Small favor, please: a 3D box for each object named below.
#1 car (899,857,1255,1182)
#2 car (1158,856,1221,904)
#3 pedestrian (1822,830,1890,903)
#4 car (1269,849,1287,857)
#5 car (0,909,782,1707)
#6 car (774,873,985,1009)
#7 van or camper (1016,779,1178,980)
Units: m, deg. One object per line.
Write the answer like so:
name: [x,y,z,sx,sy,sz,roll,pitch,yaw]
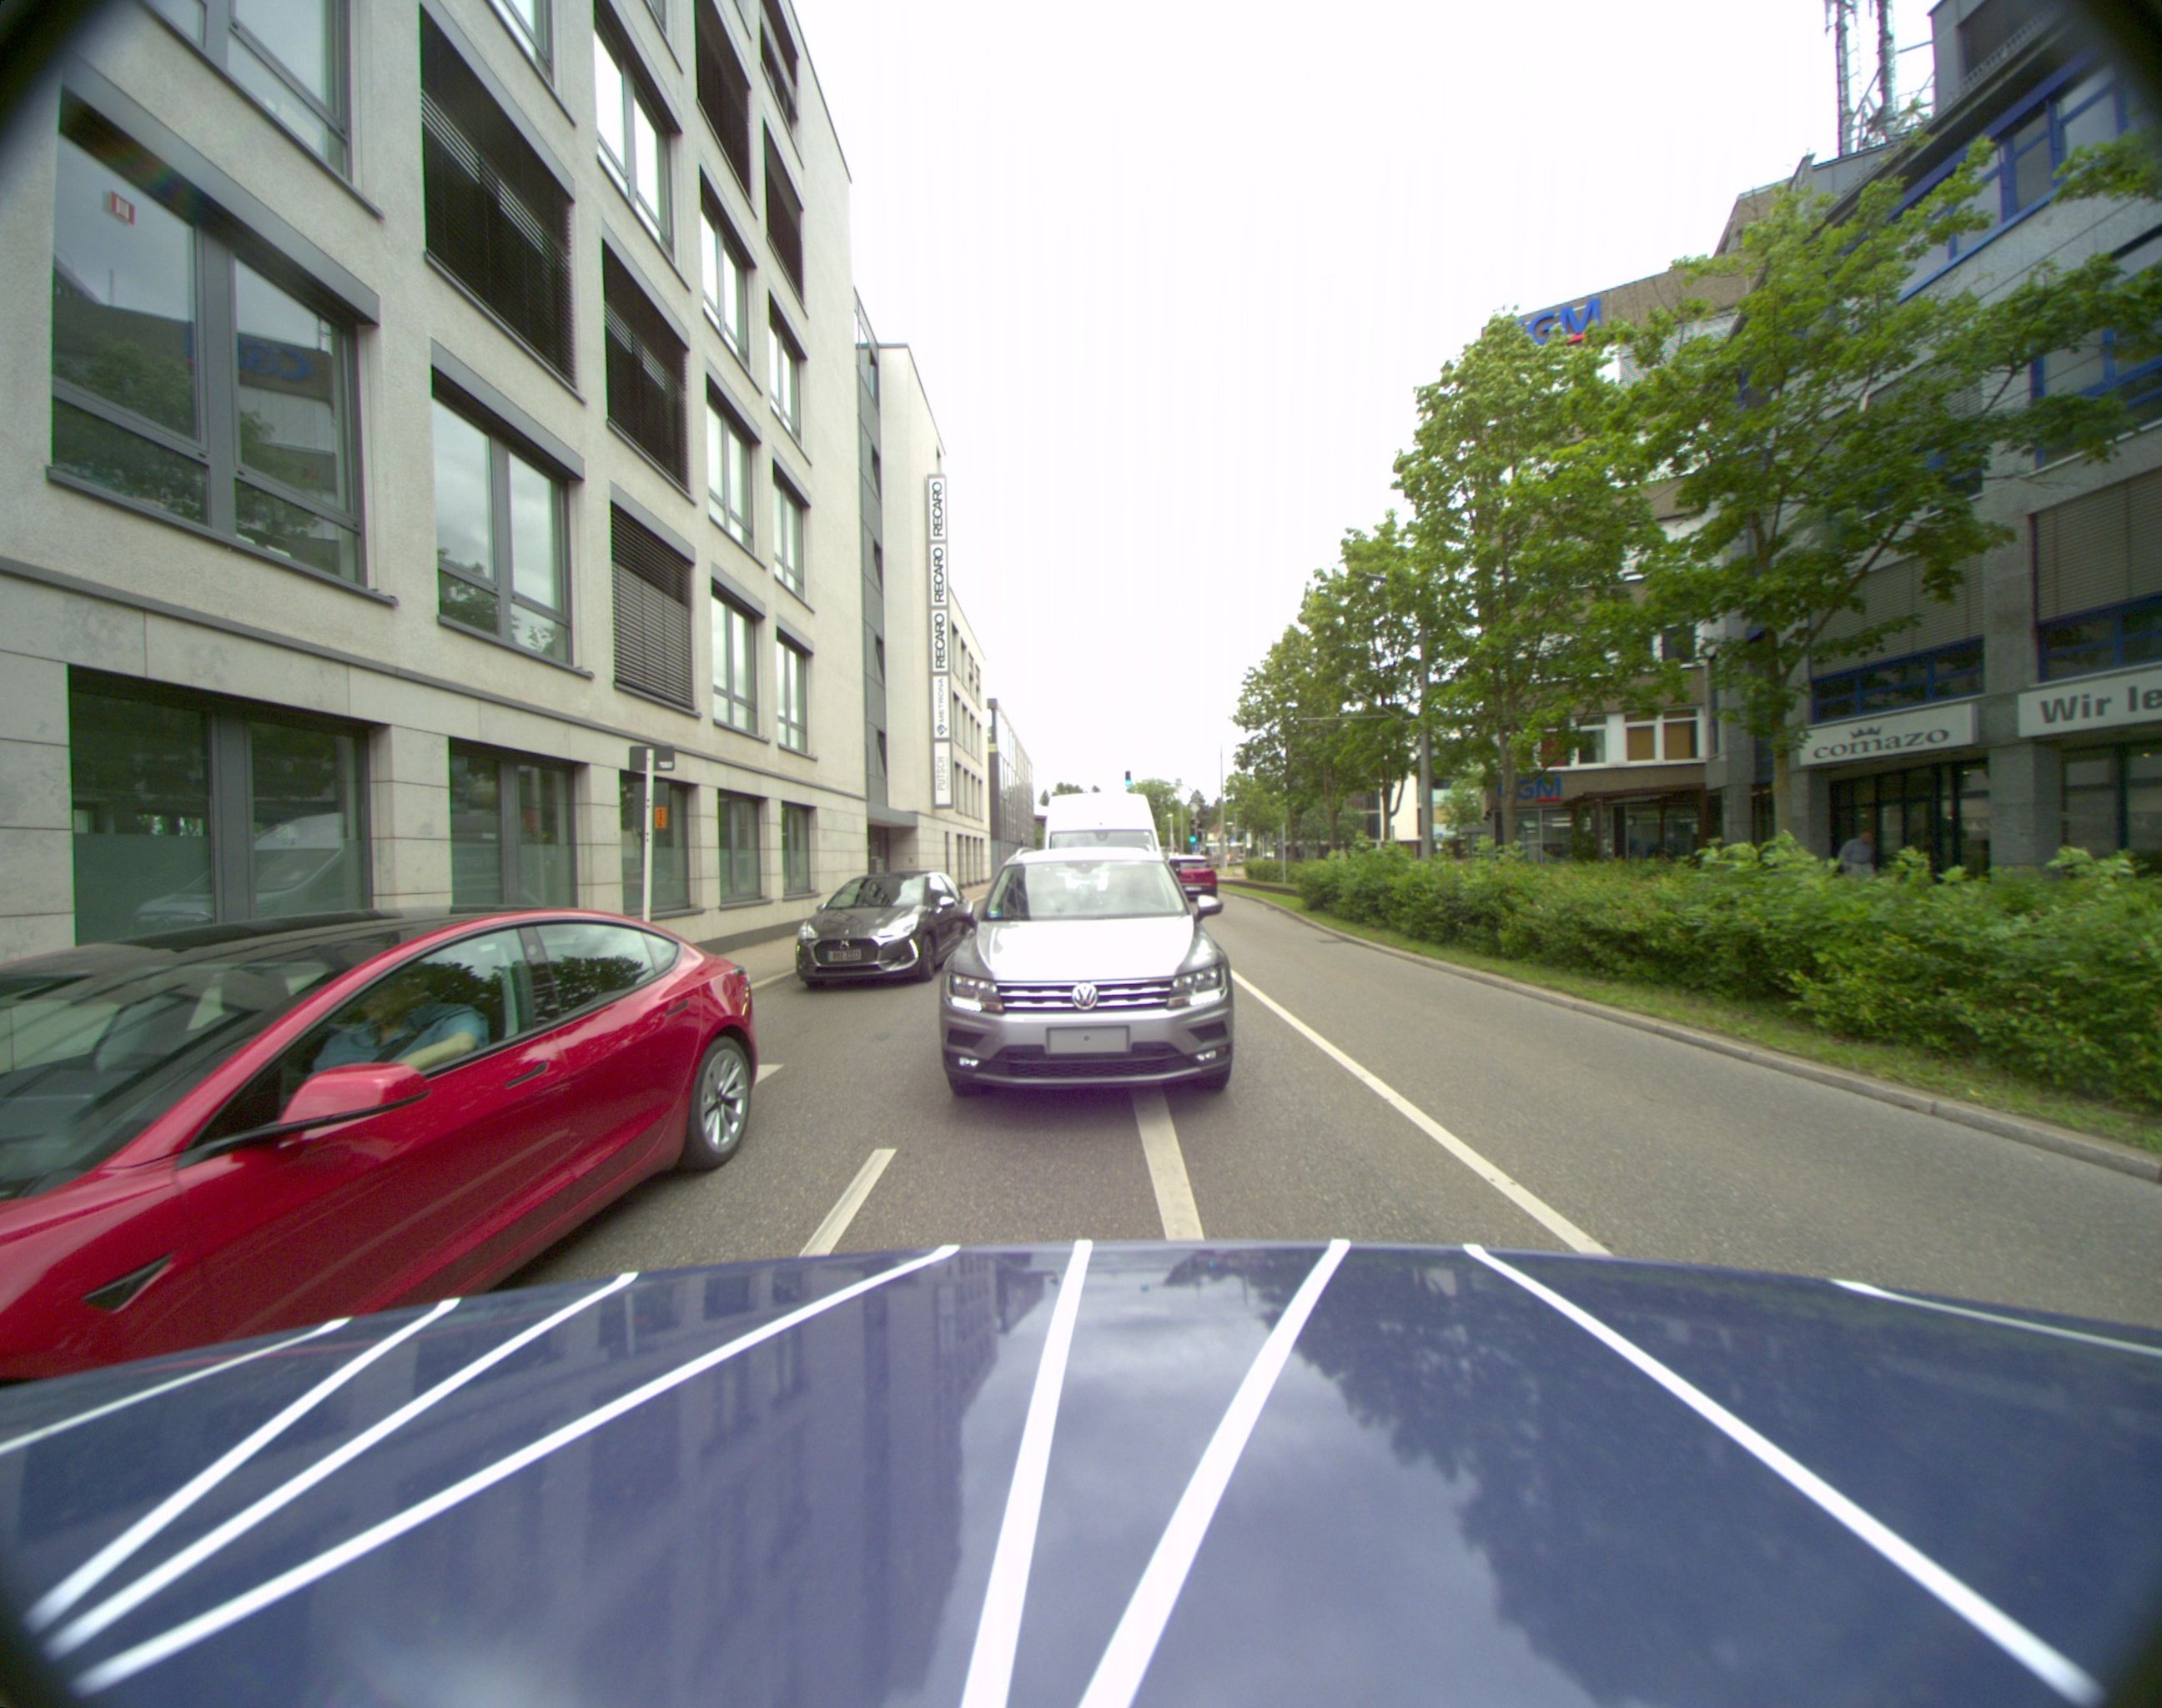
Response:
car: [0.009,0.906,6.254,1.833,1.636,4.326,-3,0,1]
car: [3.845,0.873,27.491,1.754,1.579,4.135,0,0,1]
pedestrian: [16.357,0.254,16.053,0.699,1.474,0.679,-3,0,-7]
car: [48.044,-0.238,185.415,4.006,1.888,1.995,-3,1,-34]
car: [-2.762,1.083,2.358,1.878,1.410,4.442,-3,0,-1]
car: [-2.691,1.105,11.197,1.705,1.452,4.063,-3,0,4]
van or camper: [0.295,0.350,13.656,2.110,2.674,6.299,-3,0,1]
